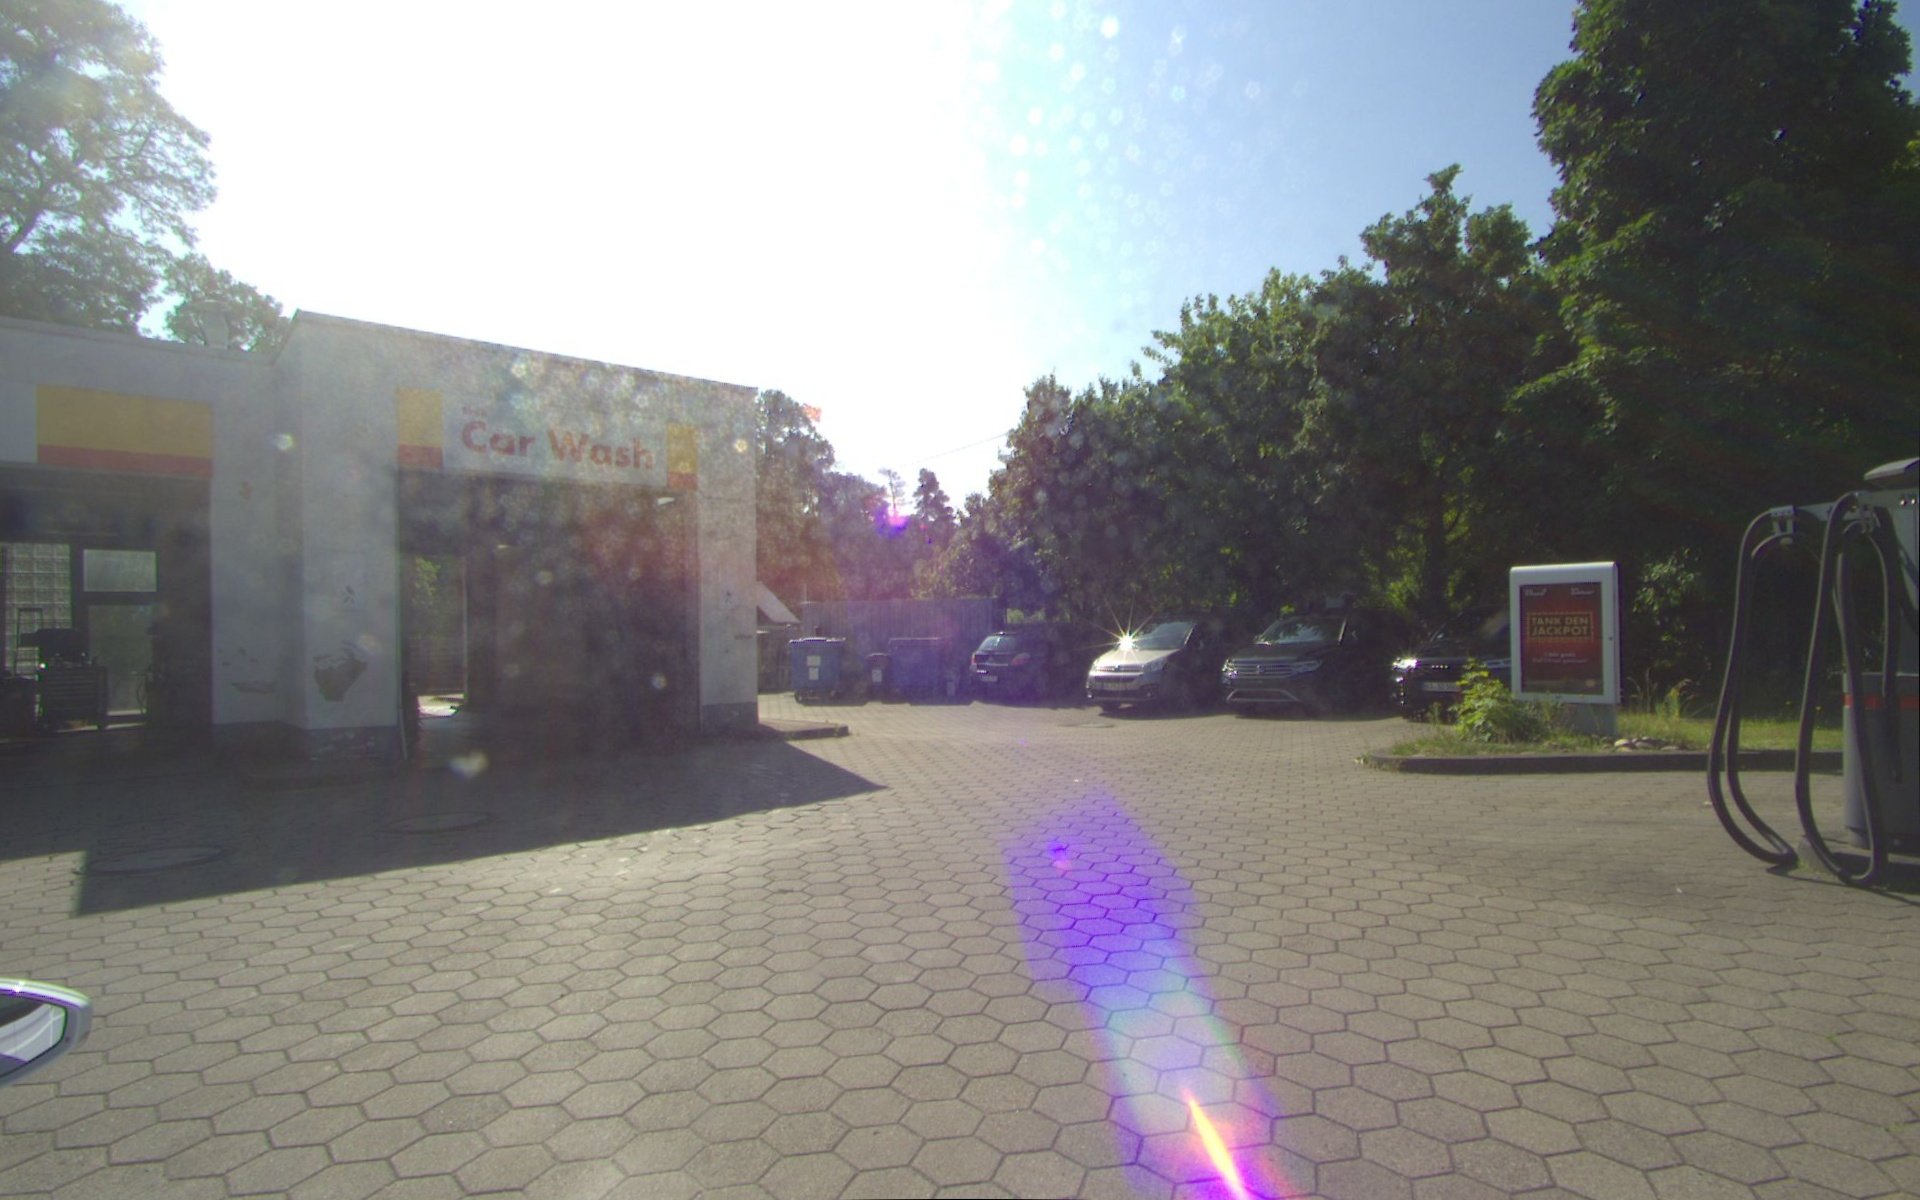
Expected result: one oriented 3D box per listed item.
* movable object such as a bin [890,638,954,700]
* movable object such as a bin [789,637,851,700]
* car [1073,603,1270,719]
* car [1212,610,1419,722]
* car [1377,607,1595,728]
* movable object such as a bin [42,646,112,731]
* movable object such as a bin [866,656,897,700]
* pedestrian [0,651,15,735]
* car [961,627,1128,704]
[{"bbox_3d":[-0.826,1.490,21.890,1.212,1.306,0.866,-1,-1,11],"label":"movable object such as a bin"},{"bbox_3d":[-3.077,1.490,22.065,1.211,1.342,0.850,-1,-1,2],"label":"movable object such as a bin"},{"bbox_3d":[4.044,1.058,18.778,3.899,1.817,1.668,-3,0,-44],"label":"car"},{"bbox_3d":[6.013,1.030,16.736,3.901,1.649,1.668,1,-3,-44],"label":"car"},{"bbox_3d":[7.793,0.913,14.682,3.901,1.530,1.668,1,-2,-44],"label":"car"},{"bbox_3d":[-13.780,1.371,15.645,0.790,1.251,0.540,-1,-3,-40],"label":"movable object such as a bin"},{"bbox_3d":[-1.723,1.715,22.048,0.484,0.921,0.866,-1,-2,10],"label":"movable object such as a bin"},{"bbox_3d":[-14.405,1.383,14.621,0.857,1.212,0.737,0,-3,-42],"label":"pedestrian"},{"bbox_3d":[1.861,1.349,21.598,3.472,1.457,1.669,0,0,-41],"label":"car"}]
